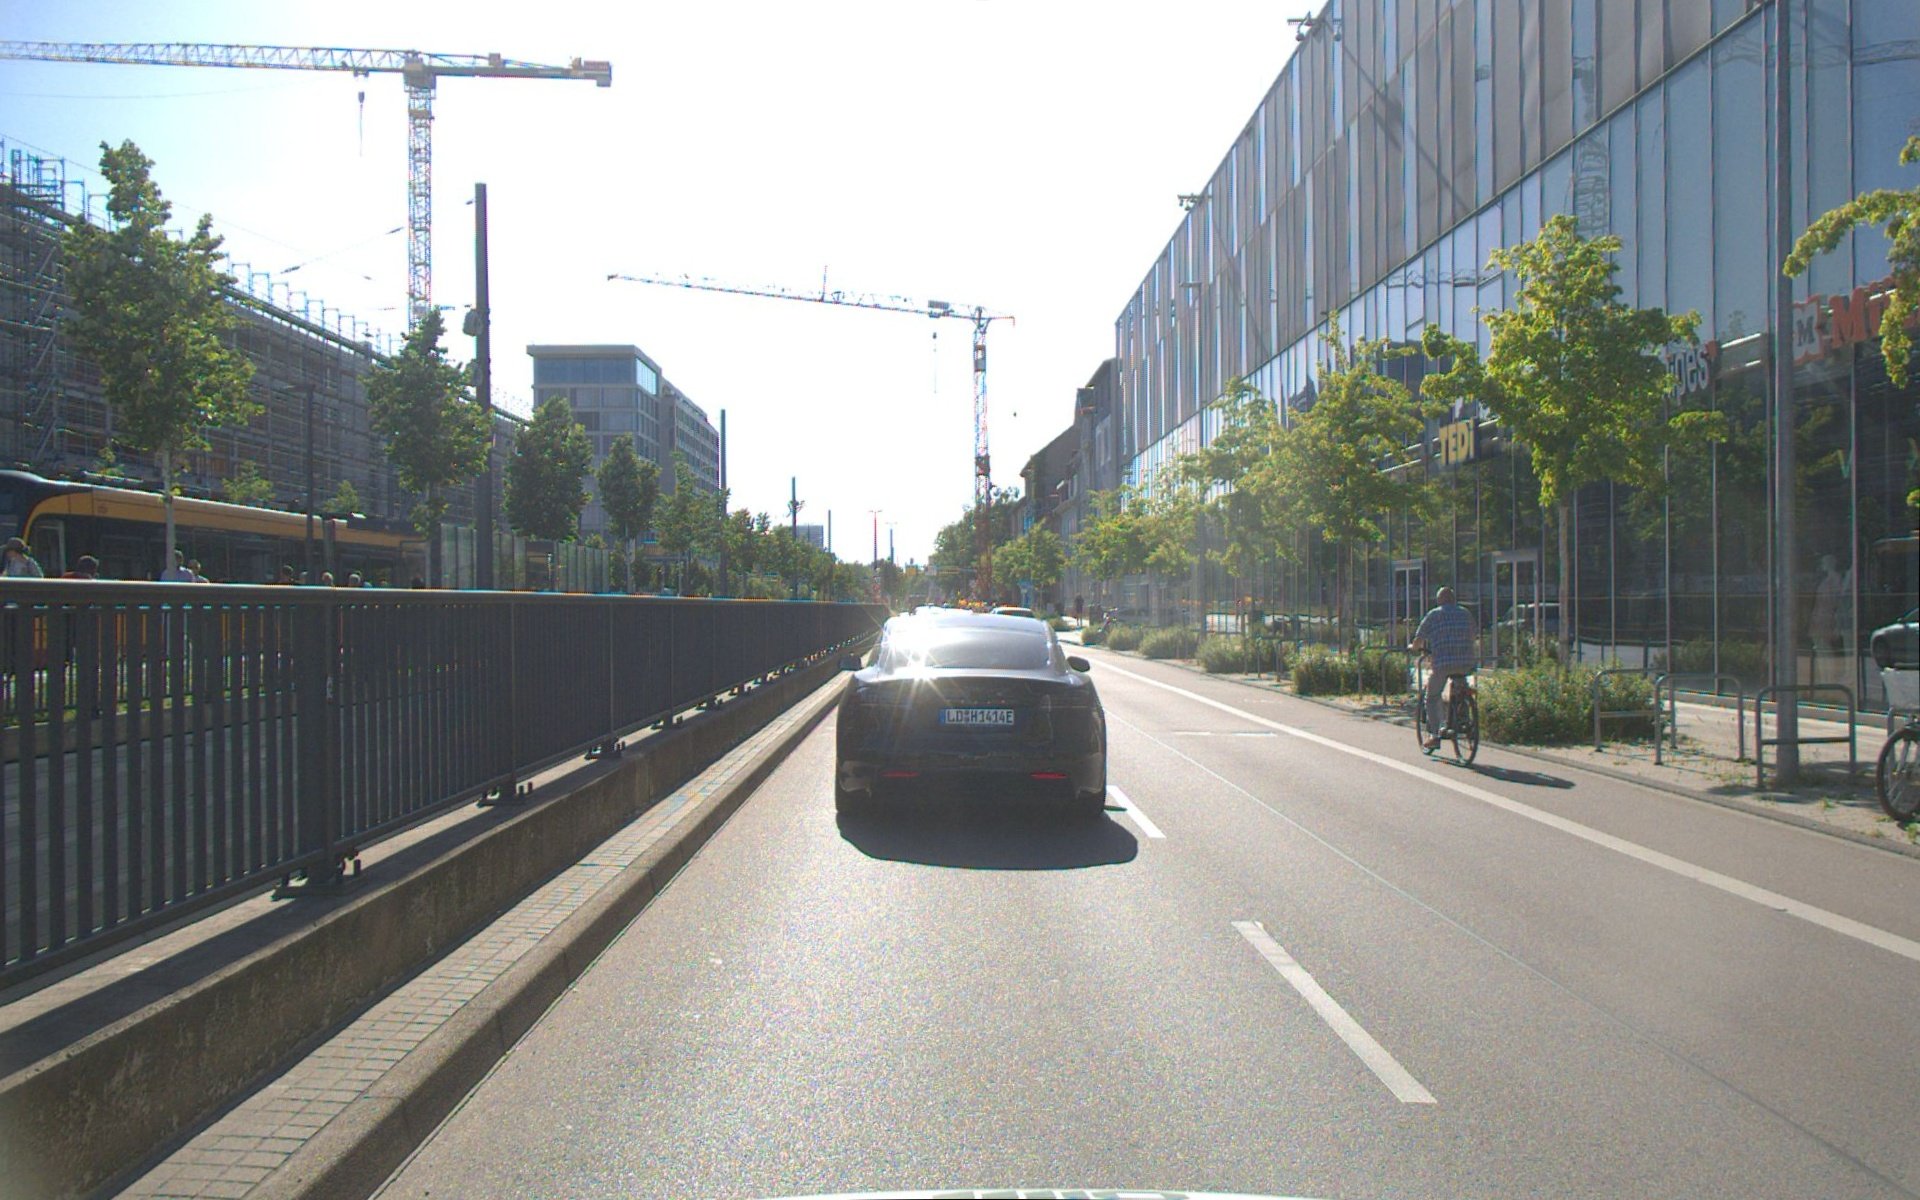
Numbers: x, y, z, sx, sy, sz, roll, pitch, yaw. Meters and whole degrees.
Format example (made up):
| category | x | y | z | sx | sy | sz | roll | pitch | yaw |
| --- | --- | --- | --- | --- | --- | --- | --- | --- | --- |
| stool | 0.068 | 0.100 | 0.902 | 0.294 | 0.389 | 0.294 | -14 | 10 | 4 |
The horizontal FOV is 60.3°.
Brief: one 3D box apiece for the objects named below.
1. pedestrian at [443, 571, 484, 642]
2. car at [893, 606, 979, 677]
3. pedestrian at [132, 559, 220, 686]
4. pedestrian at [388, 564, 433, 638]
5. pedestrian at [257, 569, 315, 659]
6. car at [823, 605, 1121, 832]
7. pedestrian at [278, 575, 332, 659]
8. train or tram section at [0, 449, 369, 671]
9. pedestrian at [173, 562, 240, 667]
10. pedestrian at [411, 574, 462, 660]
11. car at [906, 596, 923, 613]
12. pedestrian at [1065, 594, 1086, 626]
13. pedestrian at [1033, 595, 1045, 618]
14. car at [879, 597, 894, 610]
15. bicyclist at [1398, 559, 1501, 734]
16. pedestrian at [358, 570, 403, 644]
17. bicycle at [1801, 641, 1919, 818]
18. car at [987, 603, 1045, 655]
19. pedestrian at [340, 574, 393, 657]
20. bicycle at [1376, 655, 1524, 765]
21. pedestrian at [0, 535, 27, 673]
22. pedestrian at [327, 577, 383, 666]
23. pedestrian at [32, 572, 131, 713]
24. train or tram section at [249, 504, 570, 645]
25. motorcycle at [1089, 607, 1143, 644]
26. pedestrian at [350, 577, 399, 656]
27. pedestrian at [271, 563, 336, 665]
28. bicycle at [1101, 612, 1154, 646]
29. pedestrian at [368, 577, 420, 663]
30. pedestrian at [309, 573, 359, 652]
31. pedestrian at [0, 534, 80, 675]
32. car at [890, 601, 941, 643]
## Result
| category | x | y | z | sx | sy | sz | roll | pitch | yaw |
| --- | --- | --- | --- | --- | --- | --- | --- | --- | --- |
| pedestrian | -11.807 | 0.158 | 39.336 | 0.726 | 1.657 | 0.861 | 0 | 0 | 0 |
| car | -0.473 | 0.822 | 34.320 | 1.681 | 1.343 | 4.000 | 0 | 0 | 0 |
| pedestrian | -11.903 | 0.335 | 25.139 | 0.869 | 1.883 | 1.007 | 0 | 0 | -1 |
| pedestrian | -12.461 | 0.022 | 37.536 | 0.726 | 1.657 | 0.861 | 0 | 0 | 0 |
| pedestrian | -12.628 | 0.254 | 31.023 | 0.726 | 1.657 | 0.861 | 0 | 0 | 0 |
| car | 0.144 | 0.789 | 13.133 | 1.958 | 1.459 | 4.413 | 0 | 0 | 2 |
| pedestrian | -13.013 | 0.332 | 32.866 | 0.726 | 1.657 | 0.861 | 0 | 0 | 0 |
| train or tram section | -15.665 | -0.643 | 32.484 | 2.812 | 3.337 | 15.181 | 2 | 0 | -1 |
| pedestrian | -12.629 | 0.238 | 27.755 | 0.726 | 1.724 | 0.861 | 0 | 0 | 0 |
| pedestrian | -10.276 | 0.329 | 32.505 | 0.726 | 1.657 | 0.861 | 0 | 0 | 0 |
| car | -5.173 | 0.516 | 189.080 | 1.776 | 1.841 | 4.039 | 0 | 0 | 0 |
| pedestrian | 7.057 | 0.607 | 101.175 | 1.073 | 1.896 | 1.522 | -1 | 0 | -2 |
| pedestrian | 6.313 | 0.525 | 132.594 | 0.834 | 1.896 | 0.929 | -1 | 0 | -2 |
| car | -10.061 | 0.524 | 227.040 | 1.953 | 1.713 | 3.998 | 1 | -1 | -2 |
| bicyclist | 5.090 | 0.470 | 17.239 | 0.710 | 1.767 | 0.997 | -1 | 0 | -4 |
| pedestrian | -13.152 | 0.160 | 37.569 | 0.726 | 1.657 | 0.861 | 0 | 0 | 0 |
| bicycle | 7.504 | 0.922 | 12.239 | 2.041 | 1.226 | 0.951 | -2 | 0 | 5 |
| car | 1.745 | 0.907 | 52.942 | 1.748 | 1.573 | 4.039 | 0 | 0 | 0 |
| pedestrian | -12.106 | 0.312 | 33.747 | 0.726 | 1.657 | 0.947 | 0 | 0 | 0 |
| bicycle | 5.088 | 1.109 | 17.343 | 0.714 | 1.001 | 2.331 | 0 | 0 | -4 |
| pedestrian | -13.193 | 0.057 | 22.266 | 0.658 | 1.842 | 1.074 | -1 | 0 | -2 |
| pedestrian | -11.404 | 0.403 | 31.192 | 0.726 | 1.657 | 0.861 | 0 | 0 | 0 |
| pedestrian | -10.576 | 0.502 | 19.946 | 0.726 | 1.657 | 0.861 | 0 | 0 | 0 |
| train or tram section | -15.944 | -0.621 | 51.148 | 2.812 | 3.337 | 22.138 | 2 | 0 | -1 |
| motorcycle | 6.335 | 1.032 | 67.132 | 2.030 | 1.377 | 0.652 | -3 | -1 | 22 |
| pedestrian | -12.411 | 0.340 | 35.075 | 0.726 | 1.657 | 0.861 | 0 | 0 | 0 |
| pedestrian | -10.855 | 0.229 | 27.377 | 0.726 | 1.657 | 0.861 | 0 | 0 | 0 |
| bicycle | 6.332 | 1.091 | 62.491 | 1.848 | 1.171 | 0.670 | -2 | 0 | -11 |
| pedestrian | -11.069 | 0.395 | 32.362 | 0.726 | 1.657 | 0.861 | 0 | 0 | 0 |
| pedestrian | -13.219 | 0.261 | 34.948 | 0.726 | 1.657 | 0.861 | 0 | 0 | 0 |
| pedestrian | -12.464 | 0.064 | 22.215 | 0.754 | 1.842 | 1.030 | -1 | 0 | -2 |
| car | -1.812 | 0.876 | 68.097 | 1.849 | 1.624 | 4.001 | 0 | 0 | 2 |
